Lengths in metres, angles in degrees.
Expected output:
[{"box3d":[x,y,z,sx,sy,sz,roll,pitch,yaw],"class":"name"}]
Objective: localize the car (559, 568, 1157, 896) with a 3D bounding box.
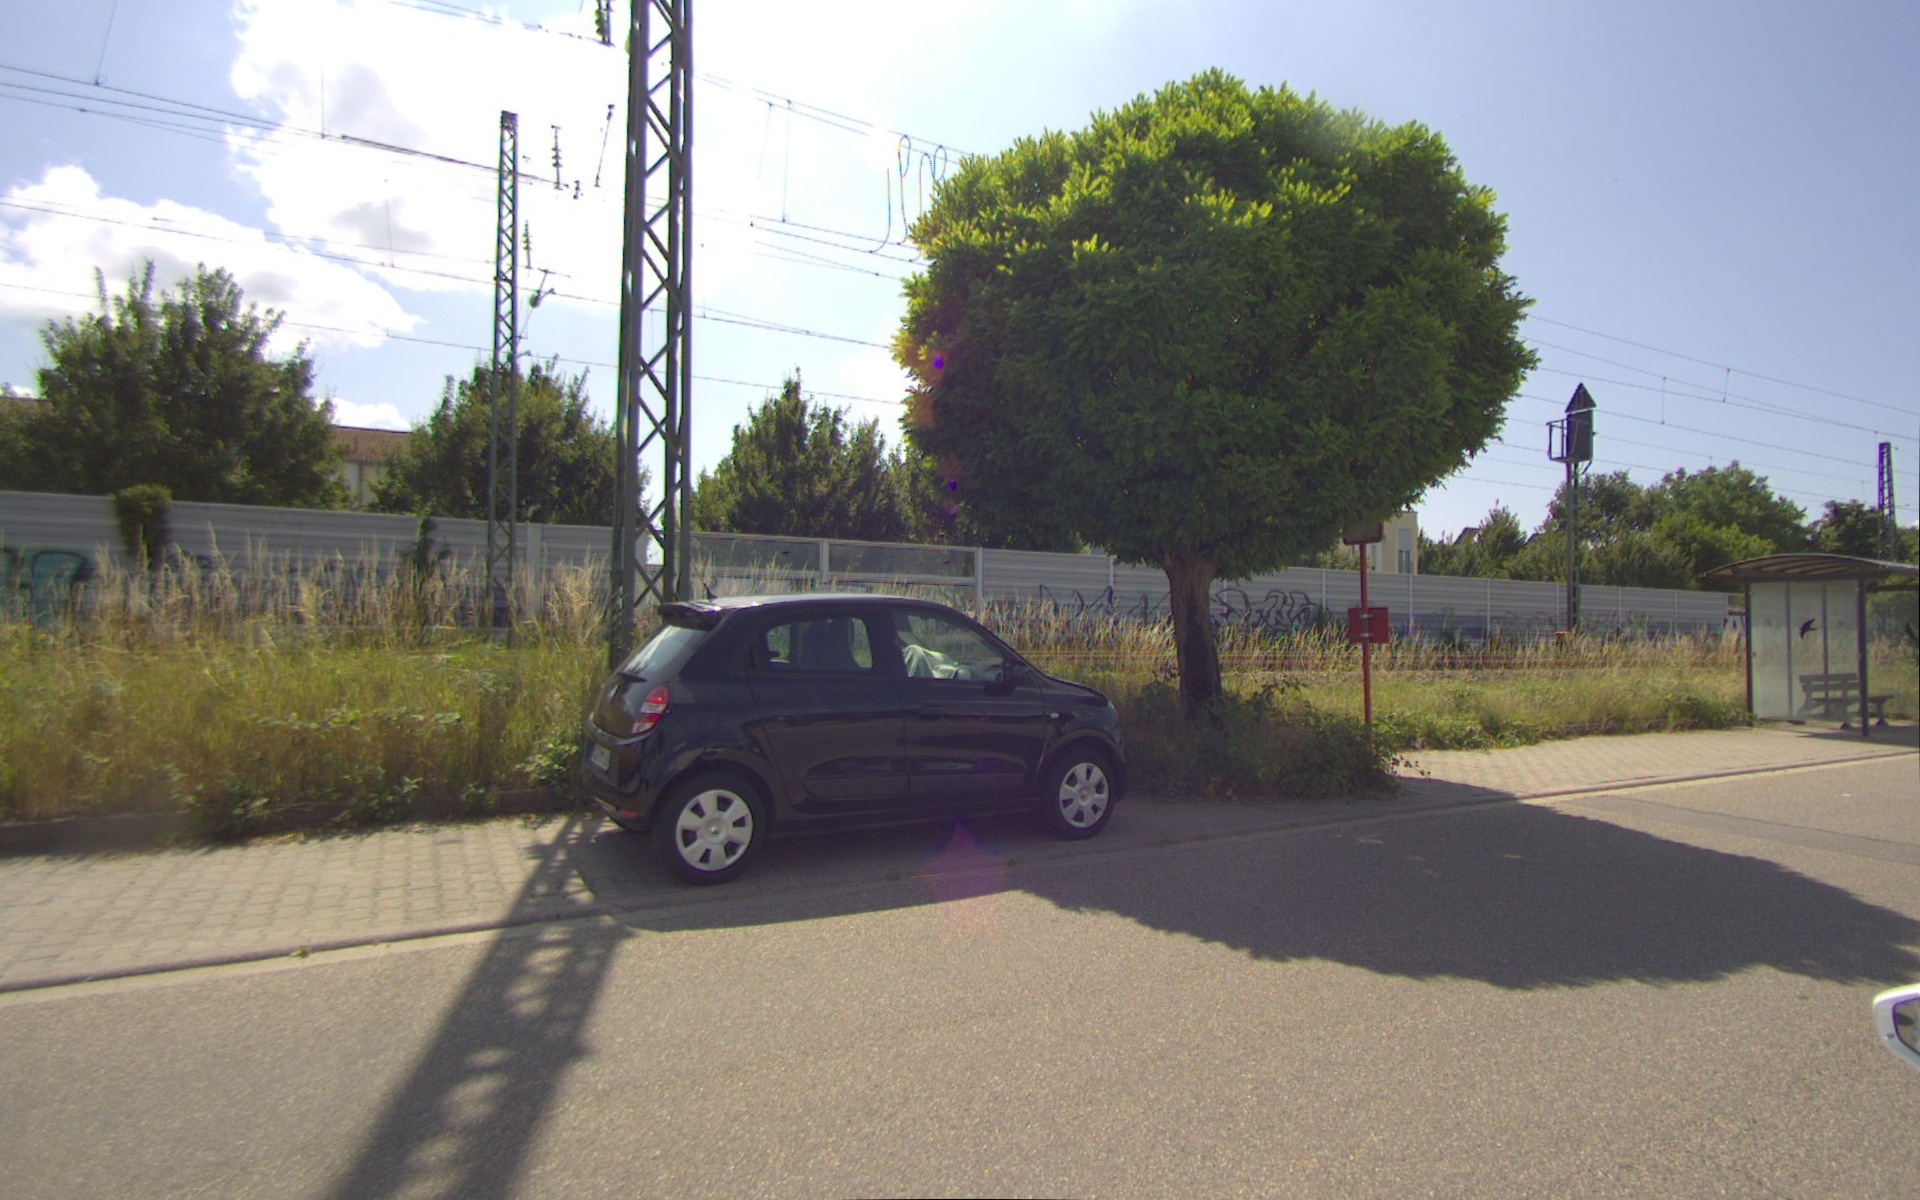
[{"box3d":[-0.609,0.706,6.639,3.539,1.617,1.732,2,-1,-32],"class":"car"}]
